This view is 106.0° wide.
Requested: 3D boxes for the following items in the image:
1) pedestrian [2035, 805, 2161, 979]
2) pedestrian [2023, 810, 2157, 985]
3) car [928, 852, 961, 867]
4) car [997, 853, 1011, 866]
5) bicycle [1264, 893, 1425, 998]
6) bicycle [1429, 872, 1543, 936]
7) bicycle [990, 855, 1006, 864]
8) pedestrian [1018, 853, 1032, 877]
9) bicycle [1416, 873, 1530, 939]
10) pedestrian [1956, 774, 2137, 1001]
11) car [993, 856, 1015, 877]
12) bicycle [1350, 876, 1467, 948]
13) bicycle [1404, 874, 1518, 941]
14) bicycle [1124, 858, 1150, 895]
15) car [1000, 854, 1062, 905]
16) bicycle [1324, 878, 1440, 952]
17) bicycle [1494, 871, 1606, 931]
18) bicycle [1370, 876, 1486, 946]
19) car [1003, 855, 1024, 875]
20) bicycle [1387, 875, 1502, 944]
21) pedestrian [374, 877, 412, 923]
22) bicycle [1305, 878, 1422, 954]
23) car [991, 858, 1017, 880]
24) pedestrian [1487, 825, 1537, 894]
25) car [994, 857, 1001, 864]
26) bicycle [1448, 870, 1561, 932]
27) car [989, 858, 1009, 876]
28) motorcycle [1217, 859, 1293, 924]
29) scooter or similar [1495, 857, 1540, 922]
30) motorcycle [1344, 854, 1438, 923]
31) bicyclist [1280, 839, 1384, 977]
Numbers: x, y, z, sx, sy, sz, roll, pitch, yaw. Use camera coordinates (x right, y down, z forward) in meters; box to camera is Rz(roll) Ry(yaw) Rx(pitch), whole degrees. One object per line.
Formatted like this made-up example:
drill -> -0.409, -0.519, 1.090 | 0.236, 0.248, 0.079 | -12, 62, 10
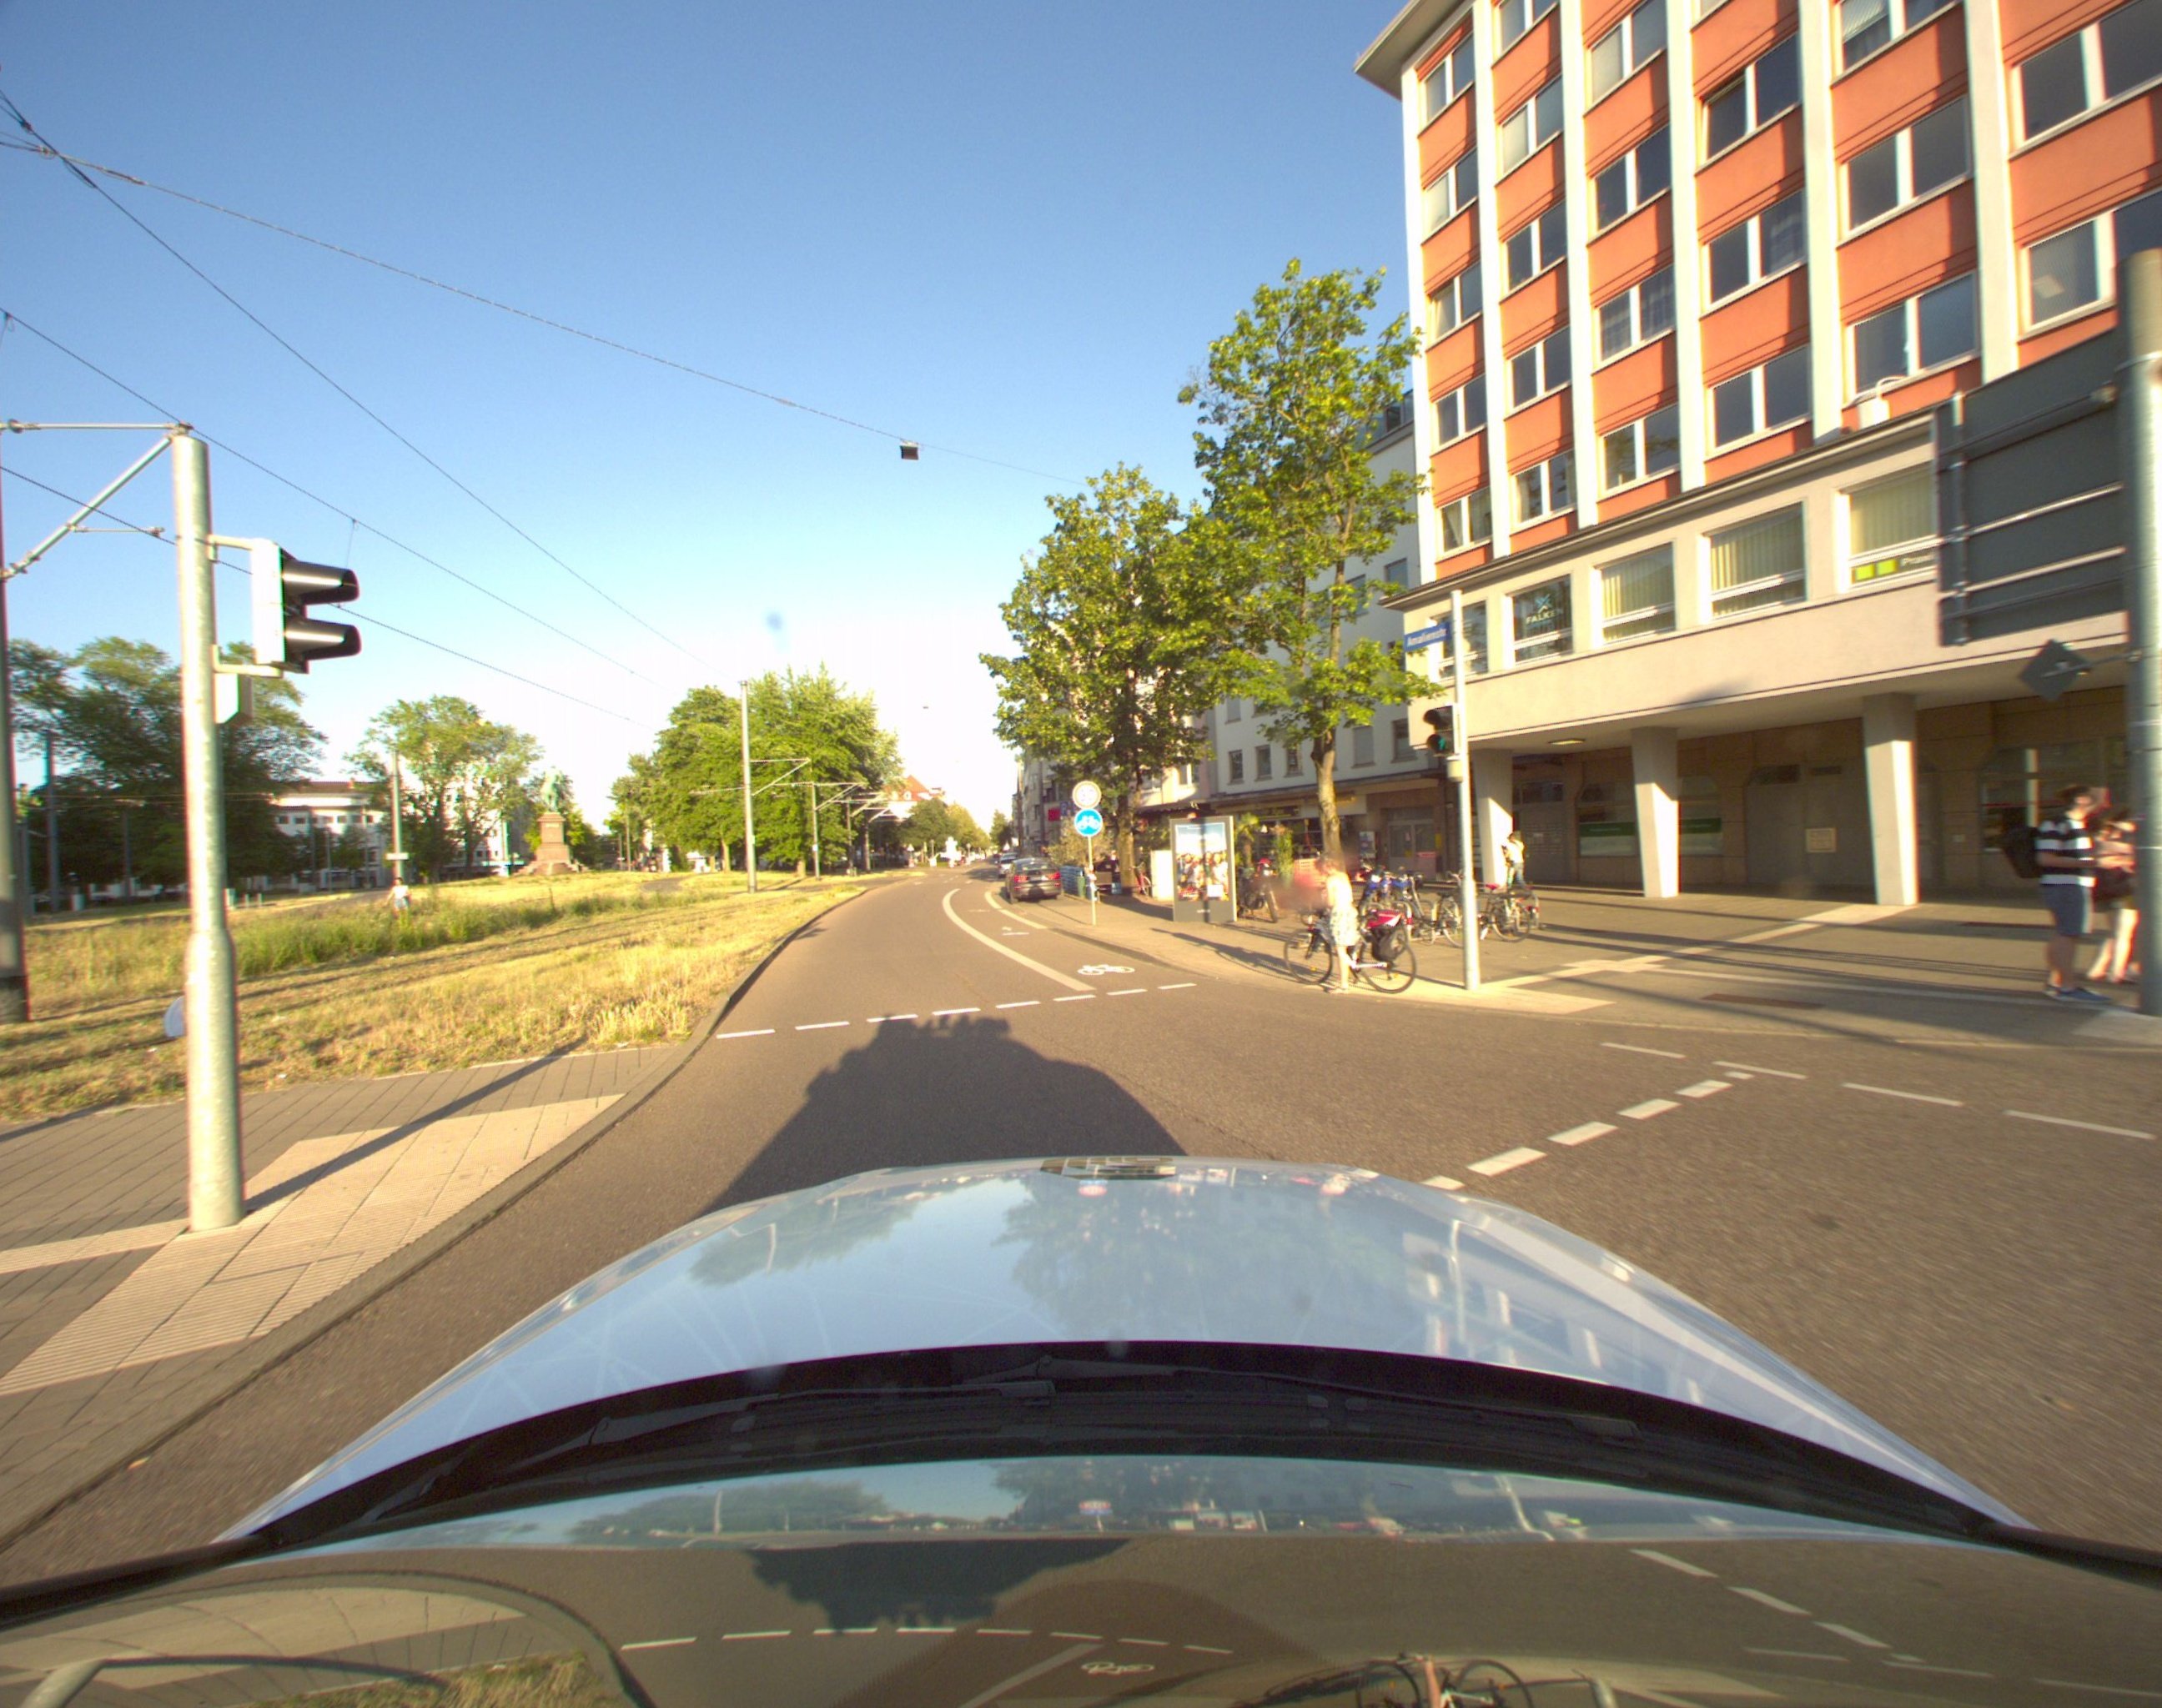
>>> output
pedestrian -> 10.542, 0.369, 8.398 | 0.519, 1.693, 0.766 | -3, 0, -26
pedestrian -> 10.064, 0.413, 8.134 | 0.519, 1.644, 0.701 | -3, 0, -26
car -> -21.704, 0.929, 129.537 | 4.631, 2.251, 2.180 | -1, -1, -33
car -> -10.712, 0.746, 113.315 | 1.790, 1.792, 4.083 | -3, 0, -6
bicycle -> 2.966, 0.995, 9.354 | 0.518, 1.027, 1.774 | -2, 0, -36
bicycle -> 7.000, 0.836, 14.158 | 0.367, 1.027, 1.774 | -2, 0, -36
bicycle -> -10.261, 0.680, 101.028 | 1.777, 0.989, 0.543 | -5, 2, 10
pedestrian -> -4.198, 0.813, 61.039 | 0.643, 1.786, 0.849 | -2, 0, -30
bicycle -> 6.642, 0.857, 13.886 | 0.367, 1.027, 1.774 | -2, 0, -36
pedestrian -> 8.920, 0.281, 7.548 | 0.702, 1.957, 0.842 | -3, 0, -20
car -> -6.240, 0.977, 65.755 | 1.583, 1.590, 3.658 | -1, 0, -7
bicycle -> 5.143, 0.886, 12.896 | 0.362, 1.027, 1.775 | -2, 0, -35
bicycle -> 6.329, 0.859, 13.660 | 0.362, 1.027, 1.775 | -2, 0, -35
bicycle -> 1.923, 0.758, 28.219 | 0.446, 1.210, 2.077 | -2, 0, -7
car -> -1.955, 0.885, 30.448 | 1.804, 1.670, 4.797 | -2, 0, -9
bicycle -> 4.609, 0.907, 12.607 | 0.362, 1.027, 1.775 | -2, 0, -35
bicycle -> 8.579, 0.838, 14.975 | 0.367, 1.027, 1.774 | -2, 0, -36
bicycle -> 5.581, 0.884, 13.204 | 0.370, 1.027, 1.774 | -2, 0, -36
car -> -6.418, 0.986, 77.089 | 1.782, 1.804, 4.390 | -2, 0, -7
bicycle -> 5.957, 0.881, 13.431 | 0.362, 1.027, 1.775 | -2, 0, -35
pedestrian -> -22.725, 1.514, 26.903 | 0.670, 1.459, 0.697 | -2, 0, -10
bicycle -> 4.241, 0.903, 12.339 | 0.362, 1.027, 1.775 | -2, 0, -35
car -> -5.696, 1.074, 60.465 | 1.781, 1.456, 3.994 | -3, 0, -4
pedestrian -> 10.948, 0.132, 20.702 | 0.658, 1.724, 0.868 | -2, 0, -31
car -> -21.016, 1.637, 204.314 | 1.576, 1.542, 3.386 | -4, 0, -9
bicycle -> 7.458, 0.803, 14.427 | 0.367, 1.027, 1.774 | -2, 0, -36
car -> -7.200, 1.122, 71.614 | 1.638, 1.528, 3.992 | -2, 0, -5
motorcycle -> 3.851, 0.784, 18.191 | 0.642, 1.344, 2.189 | -2, 0, -17
scooter or similar -> 8.996, 0.706, 16.834 | 0.306, 1.263, 1.530 | -2, 0, 9
motorcycle -> 6.608, 0.701, 17.332 | 2.155, 1.354, 0.637 | -2, 0, -31
bicyclist -> 2.891, 0.587, 9.405 | 0.802, 1.480, 0.798 | -2, 0, -37
